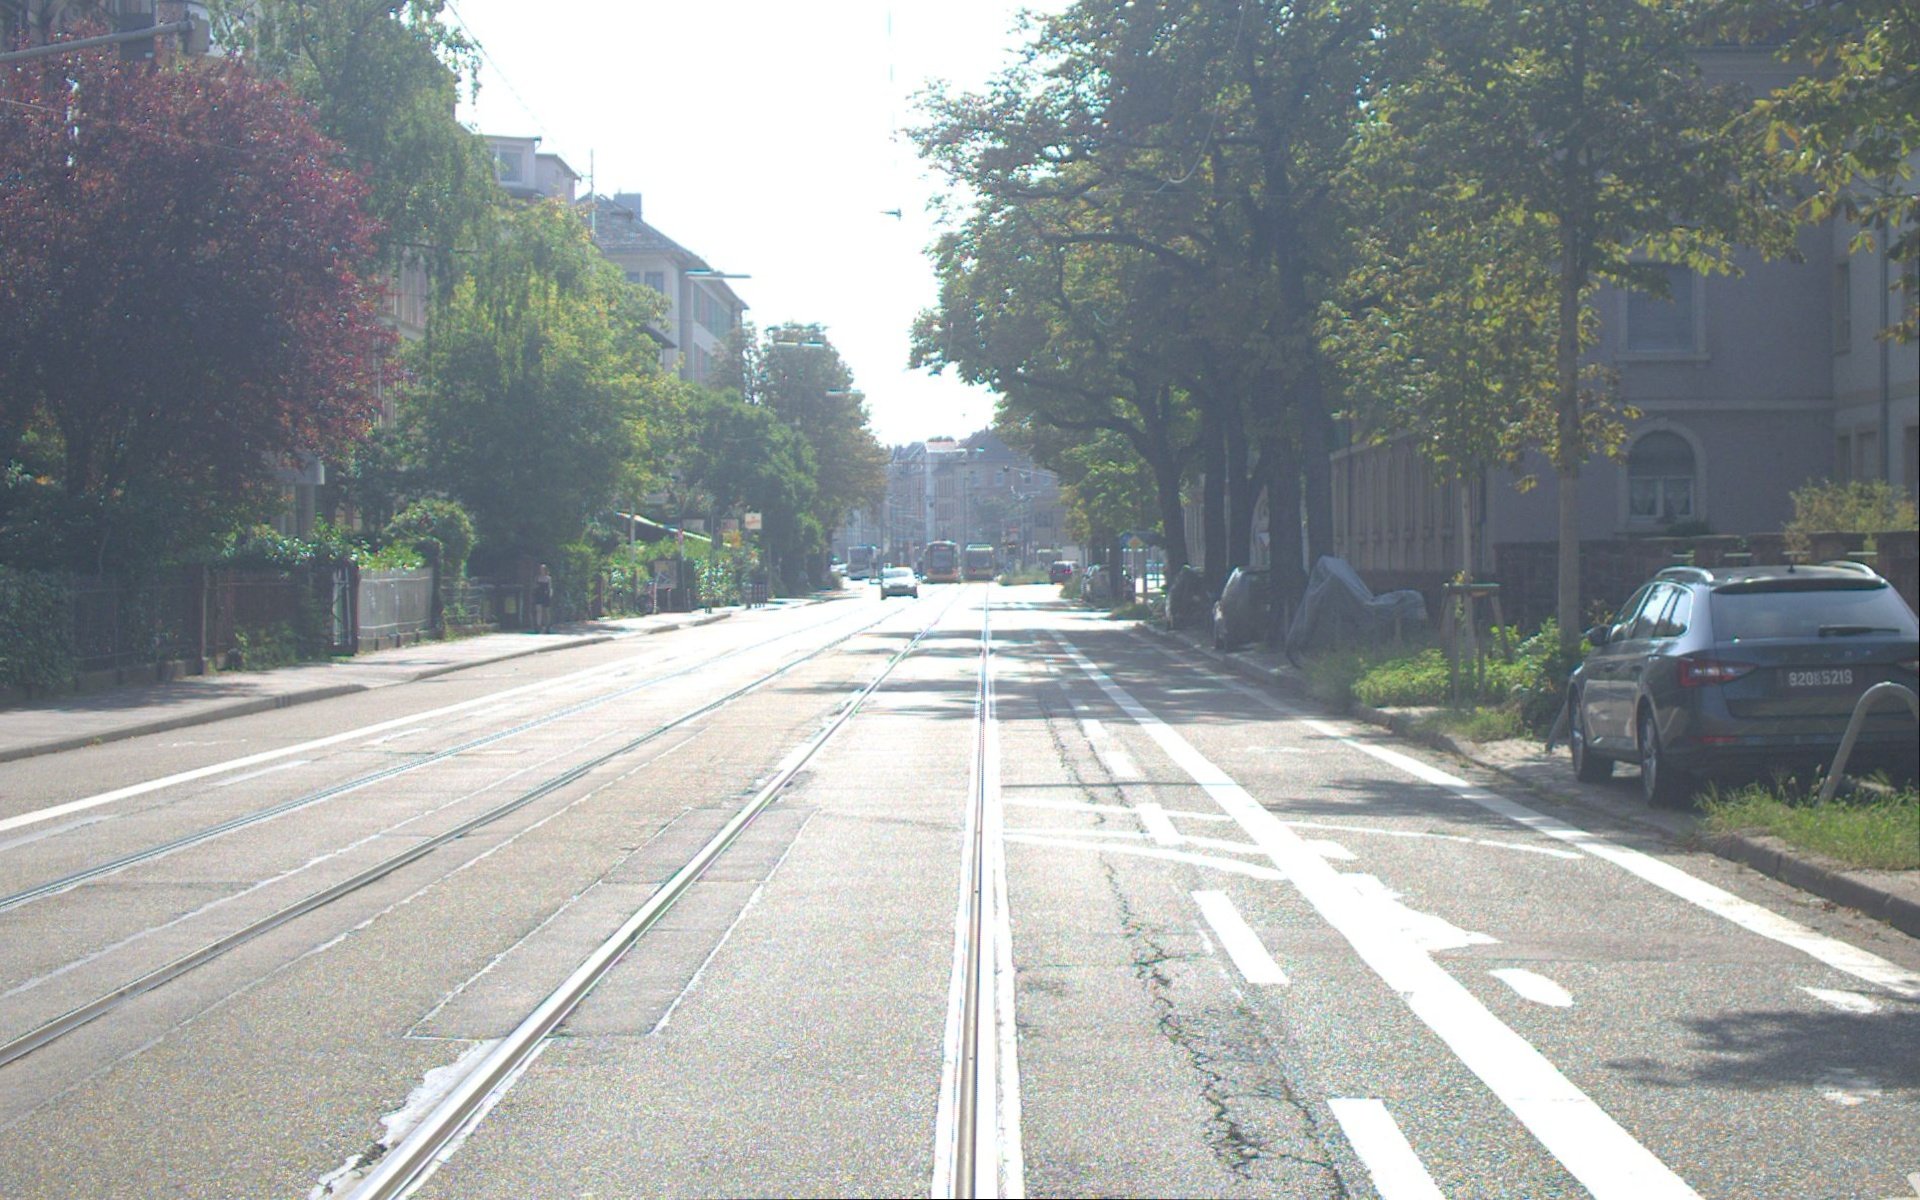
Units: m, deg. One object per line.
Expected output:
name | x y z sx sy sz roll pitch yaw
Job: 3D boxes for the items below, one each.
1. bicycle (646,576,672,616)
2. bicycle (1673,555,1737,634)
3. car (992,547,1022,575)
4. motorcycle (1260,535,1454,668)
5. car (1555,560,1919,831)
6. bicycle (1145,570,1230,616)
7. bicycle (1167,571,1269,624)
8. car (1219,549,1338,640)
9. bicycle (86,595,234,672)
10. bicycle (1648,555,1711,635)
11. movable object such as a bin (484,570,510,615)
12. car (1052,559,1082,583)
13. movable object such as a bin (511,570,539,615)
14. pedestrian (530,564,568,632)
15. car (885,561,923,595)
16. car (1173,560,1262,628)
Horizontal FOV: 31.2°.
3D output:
bicycle | -9.558 -0.133 109.203 0.561 1.217 2.113 0 1 3
bicycle | 10.633 -0.090 49.090 0.424 1.100 2.000 0 1 -2
car | 3.493 -2.913 254.162 1.994 2.007 4.000 2 1 4
motorcycle | 5.176 0.031 44.980 0.911 1.668 2.418 -3 2 -45
car | 5.130 0.531 22.444 1.743 1.555 4.719 -1 1 1
bicycle | 5.843 -0.183 88.307 2.106 1.101 0.616 -2 1 0
bicycle | 5.566 -0.056 74.153 2.106 1.101 0.563 0 1 -6
car | 5.604 -0.119 60.805 1.726 1.499 3.984 -2 0 1
bicycle | -11.667 0.483 50.157 2.015 1.100 0.588 0 1 -2
bicycle | 10.275 -0.079 49.119 0.423 1.100 2.000 0 1 -2
movable object such as a bin | -11.111 -0.187 82.489 0.589 1.074 0.705 0 1 -5
car | 8.126 -2.182 260.252 1.994 1.777 3.999 2 1 5
movable object such as a bin | -10.440 -0.173 82.549 0.631 1.074 0.705 0 1 -5
pedestrian | -9.683 -0.052 81.009 0.752 1.586 0.878 0 1 1
car | -2.724 -1.078 168.426 1.726 1.632 3.984 0 1 1
car | 5.808 -0.133 77.828 1.772 1.468 3.974 -1 0 1
